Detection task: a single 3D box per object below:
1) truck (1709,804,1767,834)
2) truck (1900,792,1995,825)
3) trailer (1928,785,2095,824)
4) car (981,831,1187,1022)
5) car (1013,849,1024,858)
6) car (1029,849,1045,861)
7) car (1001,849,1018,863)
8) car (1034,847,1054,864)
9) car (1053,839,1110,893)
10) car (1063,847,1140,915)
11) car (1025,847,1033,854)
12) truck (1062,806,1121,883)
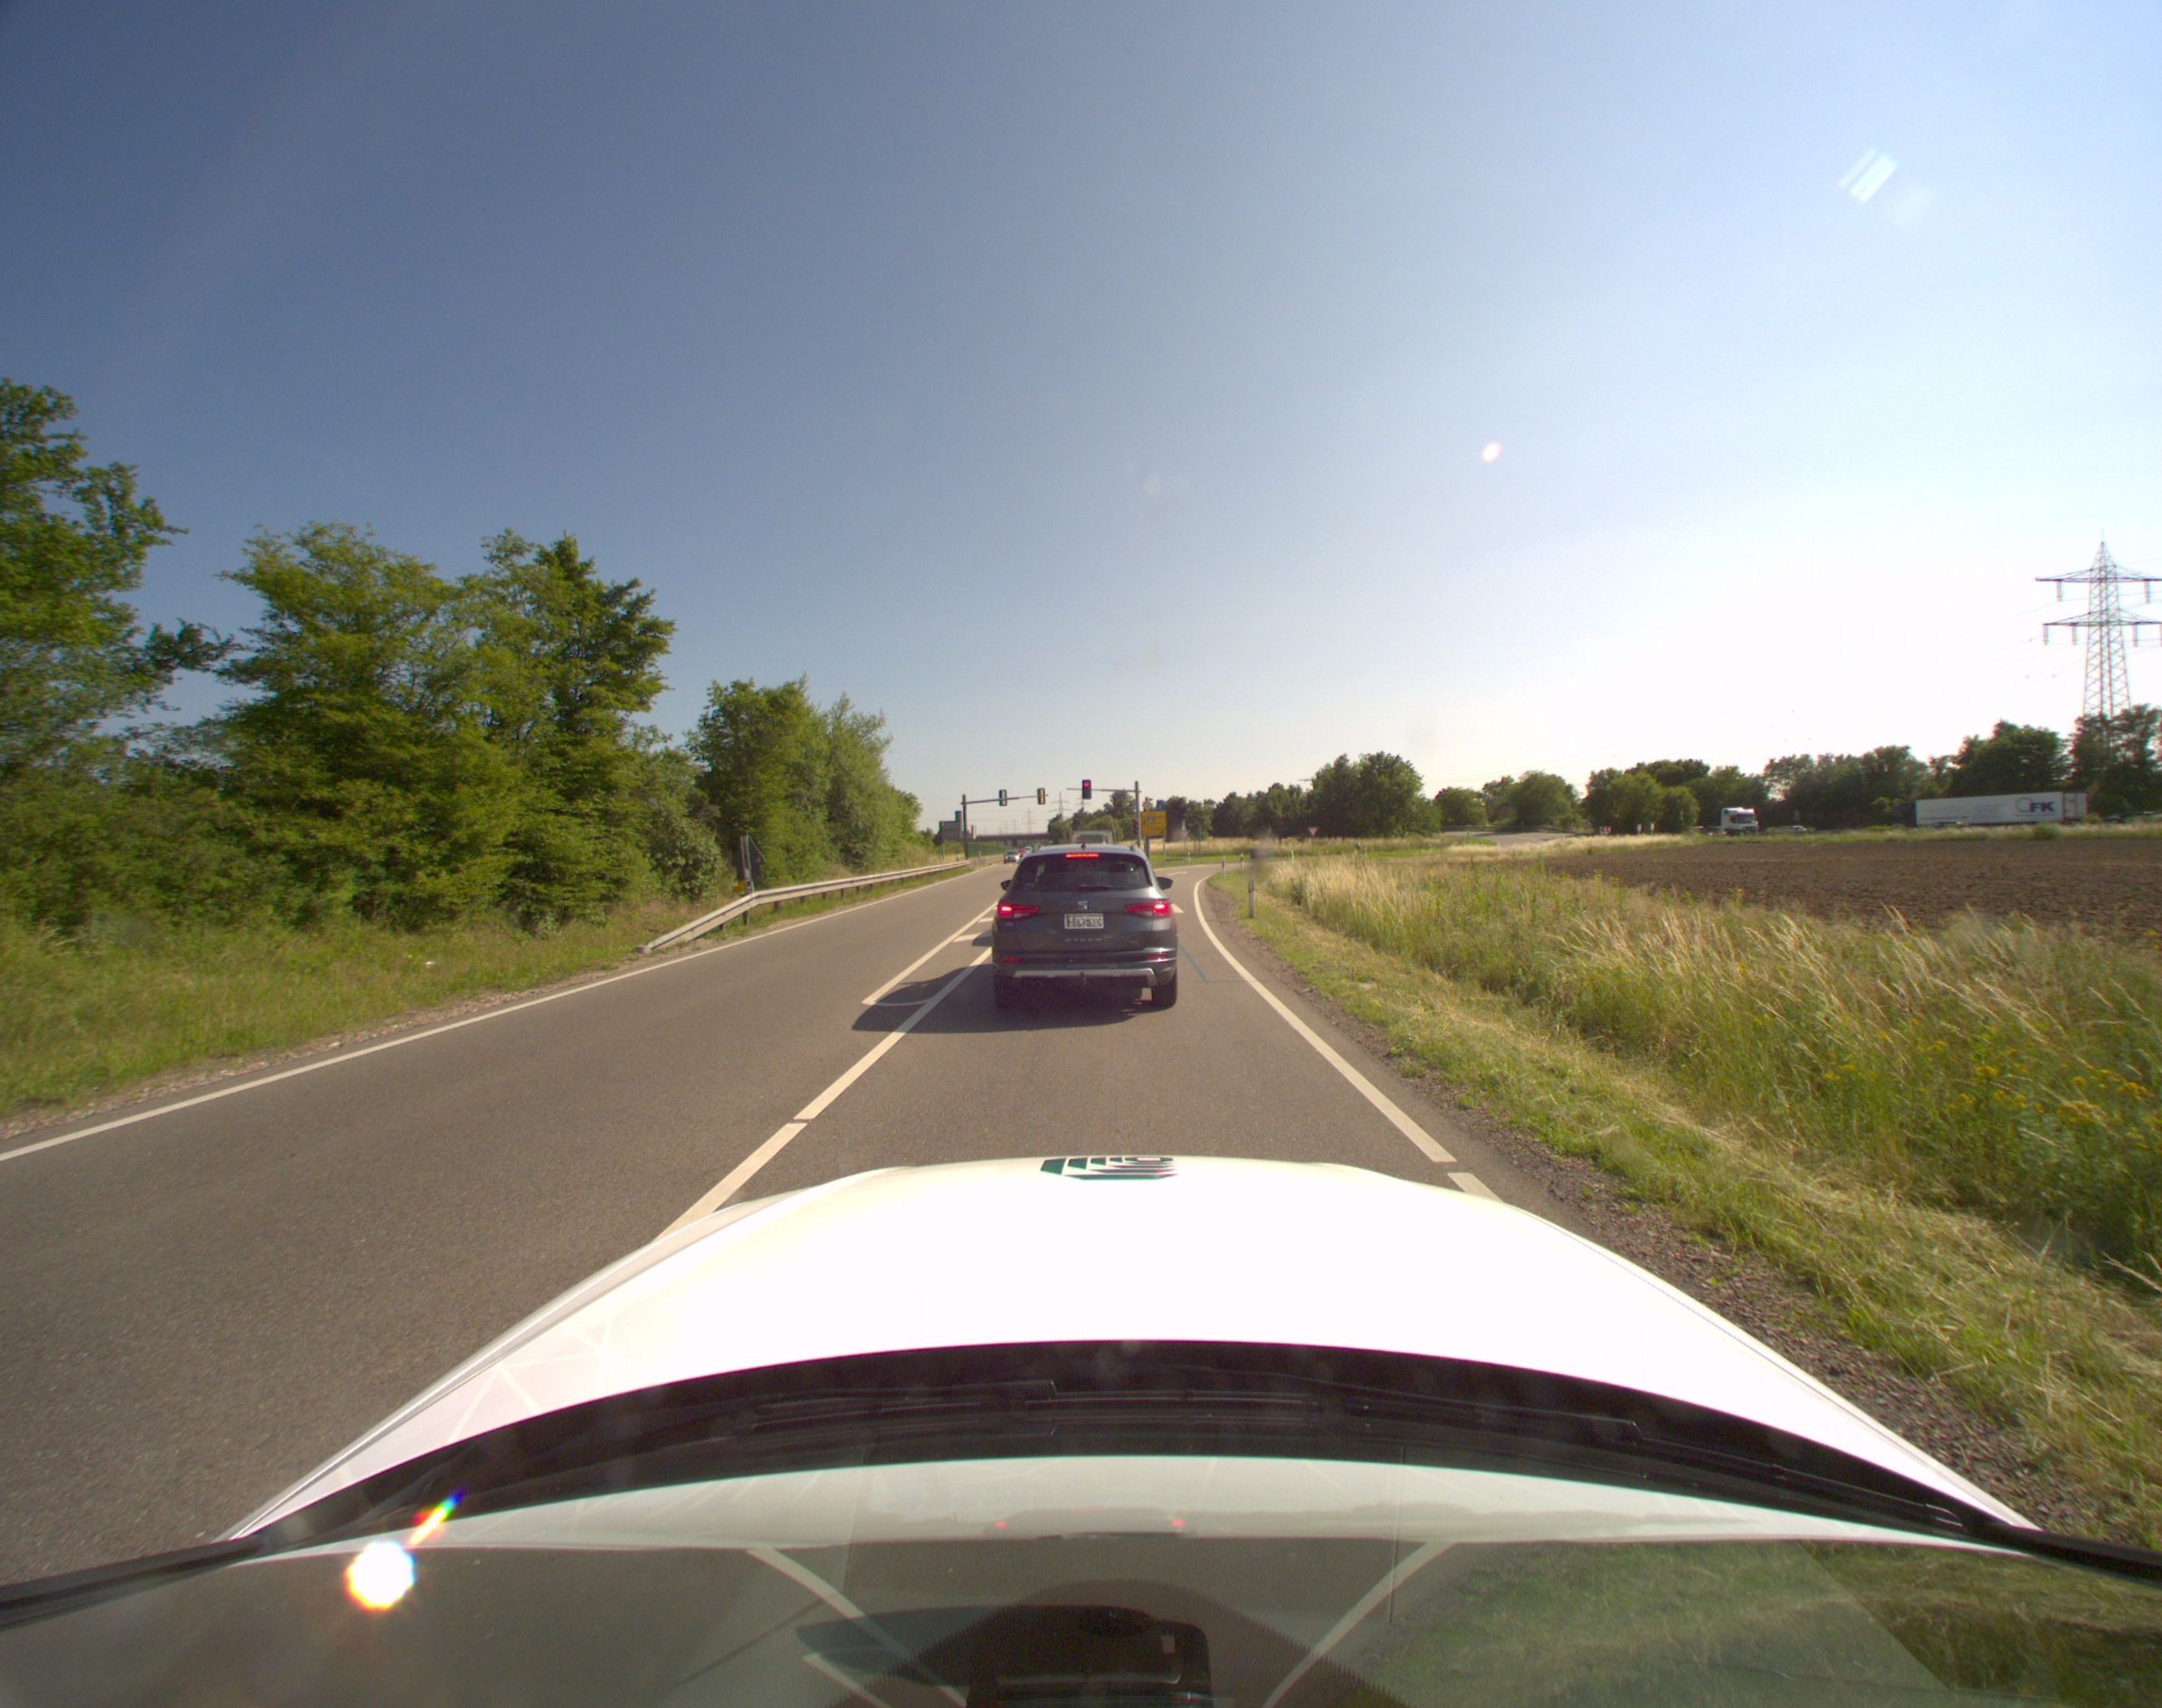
[{"bbox_3d":[79.365,-4.199,98.503,2.507,3.267,5.352,-3,1,-3],"label":"truck"},{"bbox_3d":[98.789,-5.157,93.039,3.275,3.267,6.975,-3,0,-2],"label":"truck"},{"bbox_3d":[98.908,-5.131,87.104,3.275,3.267,12.449,-3,0,-1],"label":"trailer"},{"bbox_3d":[0.009,0.616,9.232,1.780,1.629,3.999,-2,1,-1],"label":"car"},{"bbox_3d":[-11.084,-0.050,144.472,1.758,1.431,3.994,-2,1,-4],"label":"car"},{"bbox_3d":[-5.032,0.100,92.855,1.681,1.380,3.529,-1,1,-4],"label":"car"},{"bbox_3d":[-8.025,0.208,91.909,1.821,1.431,3.994,-2,1,-4],"label":"car"},{"bbox_3d":[-3.616,0.111,80.083,1.813,1.540,3.994,-2,1,-4],"label":"car"},{"bbox_3d":[-0.007,0.361,28.385,1.780,1.675,3.999,-2,1,-1],"label":"car"},{"bbox_3d":[0.462,0.614,21.377,1.780,1.543,3.999,-2,1,-1],"label":"car"},{"bbox_3d":[-14.949,-0.954,233.707,1.962,1.952,4.987,-2,1,-6],"label":"car"},{"bbox_3d":[0.471,-0.391,36.017,2.329,3.066,5.809,-1,0,1],"label":"truck"}]
